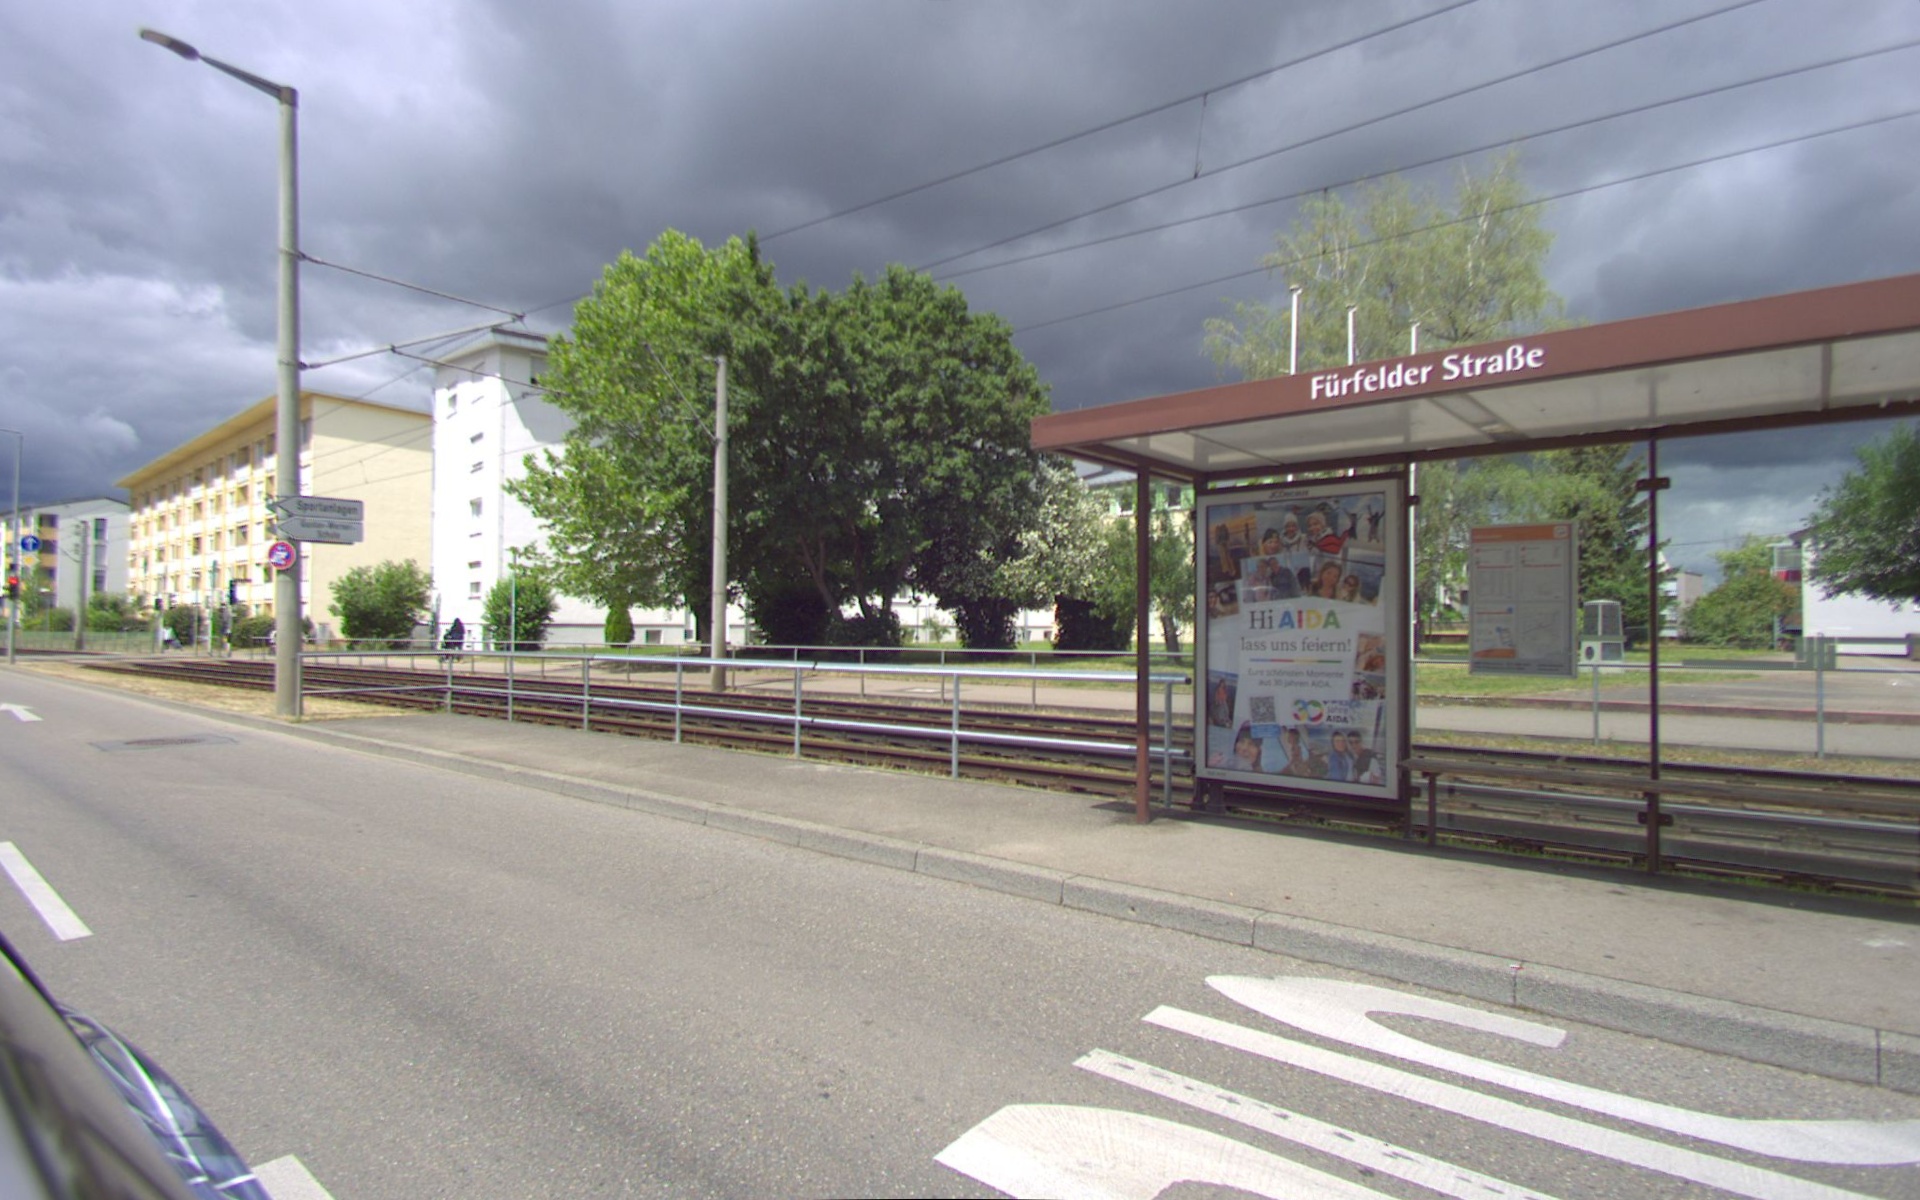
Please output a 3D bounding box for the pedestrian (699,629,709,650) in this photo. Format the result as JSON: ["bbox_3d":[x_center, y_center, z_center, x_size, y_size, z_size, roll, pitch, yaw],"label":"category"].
[{"bbox_3d":[-11.376,1.747,44.930,0.325,0.889,0.256,-1,4,-39],"label":"pedestrian"}]

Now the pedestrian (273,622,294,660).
[{"bbox_3d":[-30.988,1.879,46.340,0.679,1.705,0.638,-2,-1,41],"label":"pedestrian"}]

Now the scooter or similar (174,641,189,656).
[{"bbox_3d":[-42.722,2.675,55.526,0.665,0.779,0.527,-1,-1,39],"label":"scooter or similar"}]

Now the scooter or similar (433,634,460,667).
[{"bbox_3d":[-18.294,1.787,36.061,0.820,1.123,0.598,-1,-1,39],"label":"scooter or similar"}]

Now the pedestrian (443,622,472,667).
[{"bbox_3d":[-17.641,1.554,35.517,0.873,1.552,0.607,-1,-1,39],"label":"pedestrian"}]

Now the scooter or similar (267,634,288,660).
[{"bbox_3d":[-31.598,2.150,46.837,0.891,1.172,0.602,-1,-2,41],"label":"scooter or similar"}]

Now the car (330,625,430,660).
[{"bbox_3d":[-30.095,2.162,52.588,4.227,1.742,1.811,1,-2,-44],"label":"car"}]

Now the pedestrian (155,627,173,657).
[{"bbox_3d":[-43.347,2.276,55.125,0.773,1.619,0.598,-2,-1,39],"label":"pedestrian"}]
